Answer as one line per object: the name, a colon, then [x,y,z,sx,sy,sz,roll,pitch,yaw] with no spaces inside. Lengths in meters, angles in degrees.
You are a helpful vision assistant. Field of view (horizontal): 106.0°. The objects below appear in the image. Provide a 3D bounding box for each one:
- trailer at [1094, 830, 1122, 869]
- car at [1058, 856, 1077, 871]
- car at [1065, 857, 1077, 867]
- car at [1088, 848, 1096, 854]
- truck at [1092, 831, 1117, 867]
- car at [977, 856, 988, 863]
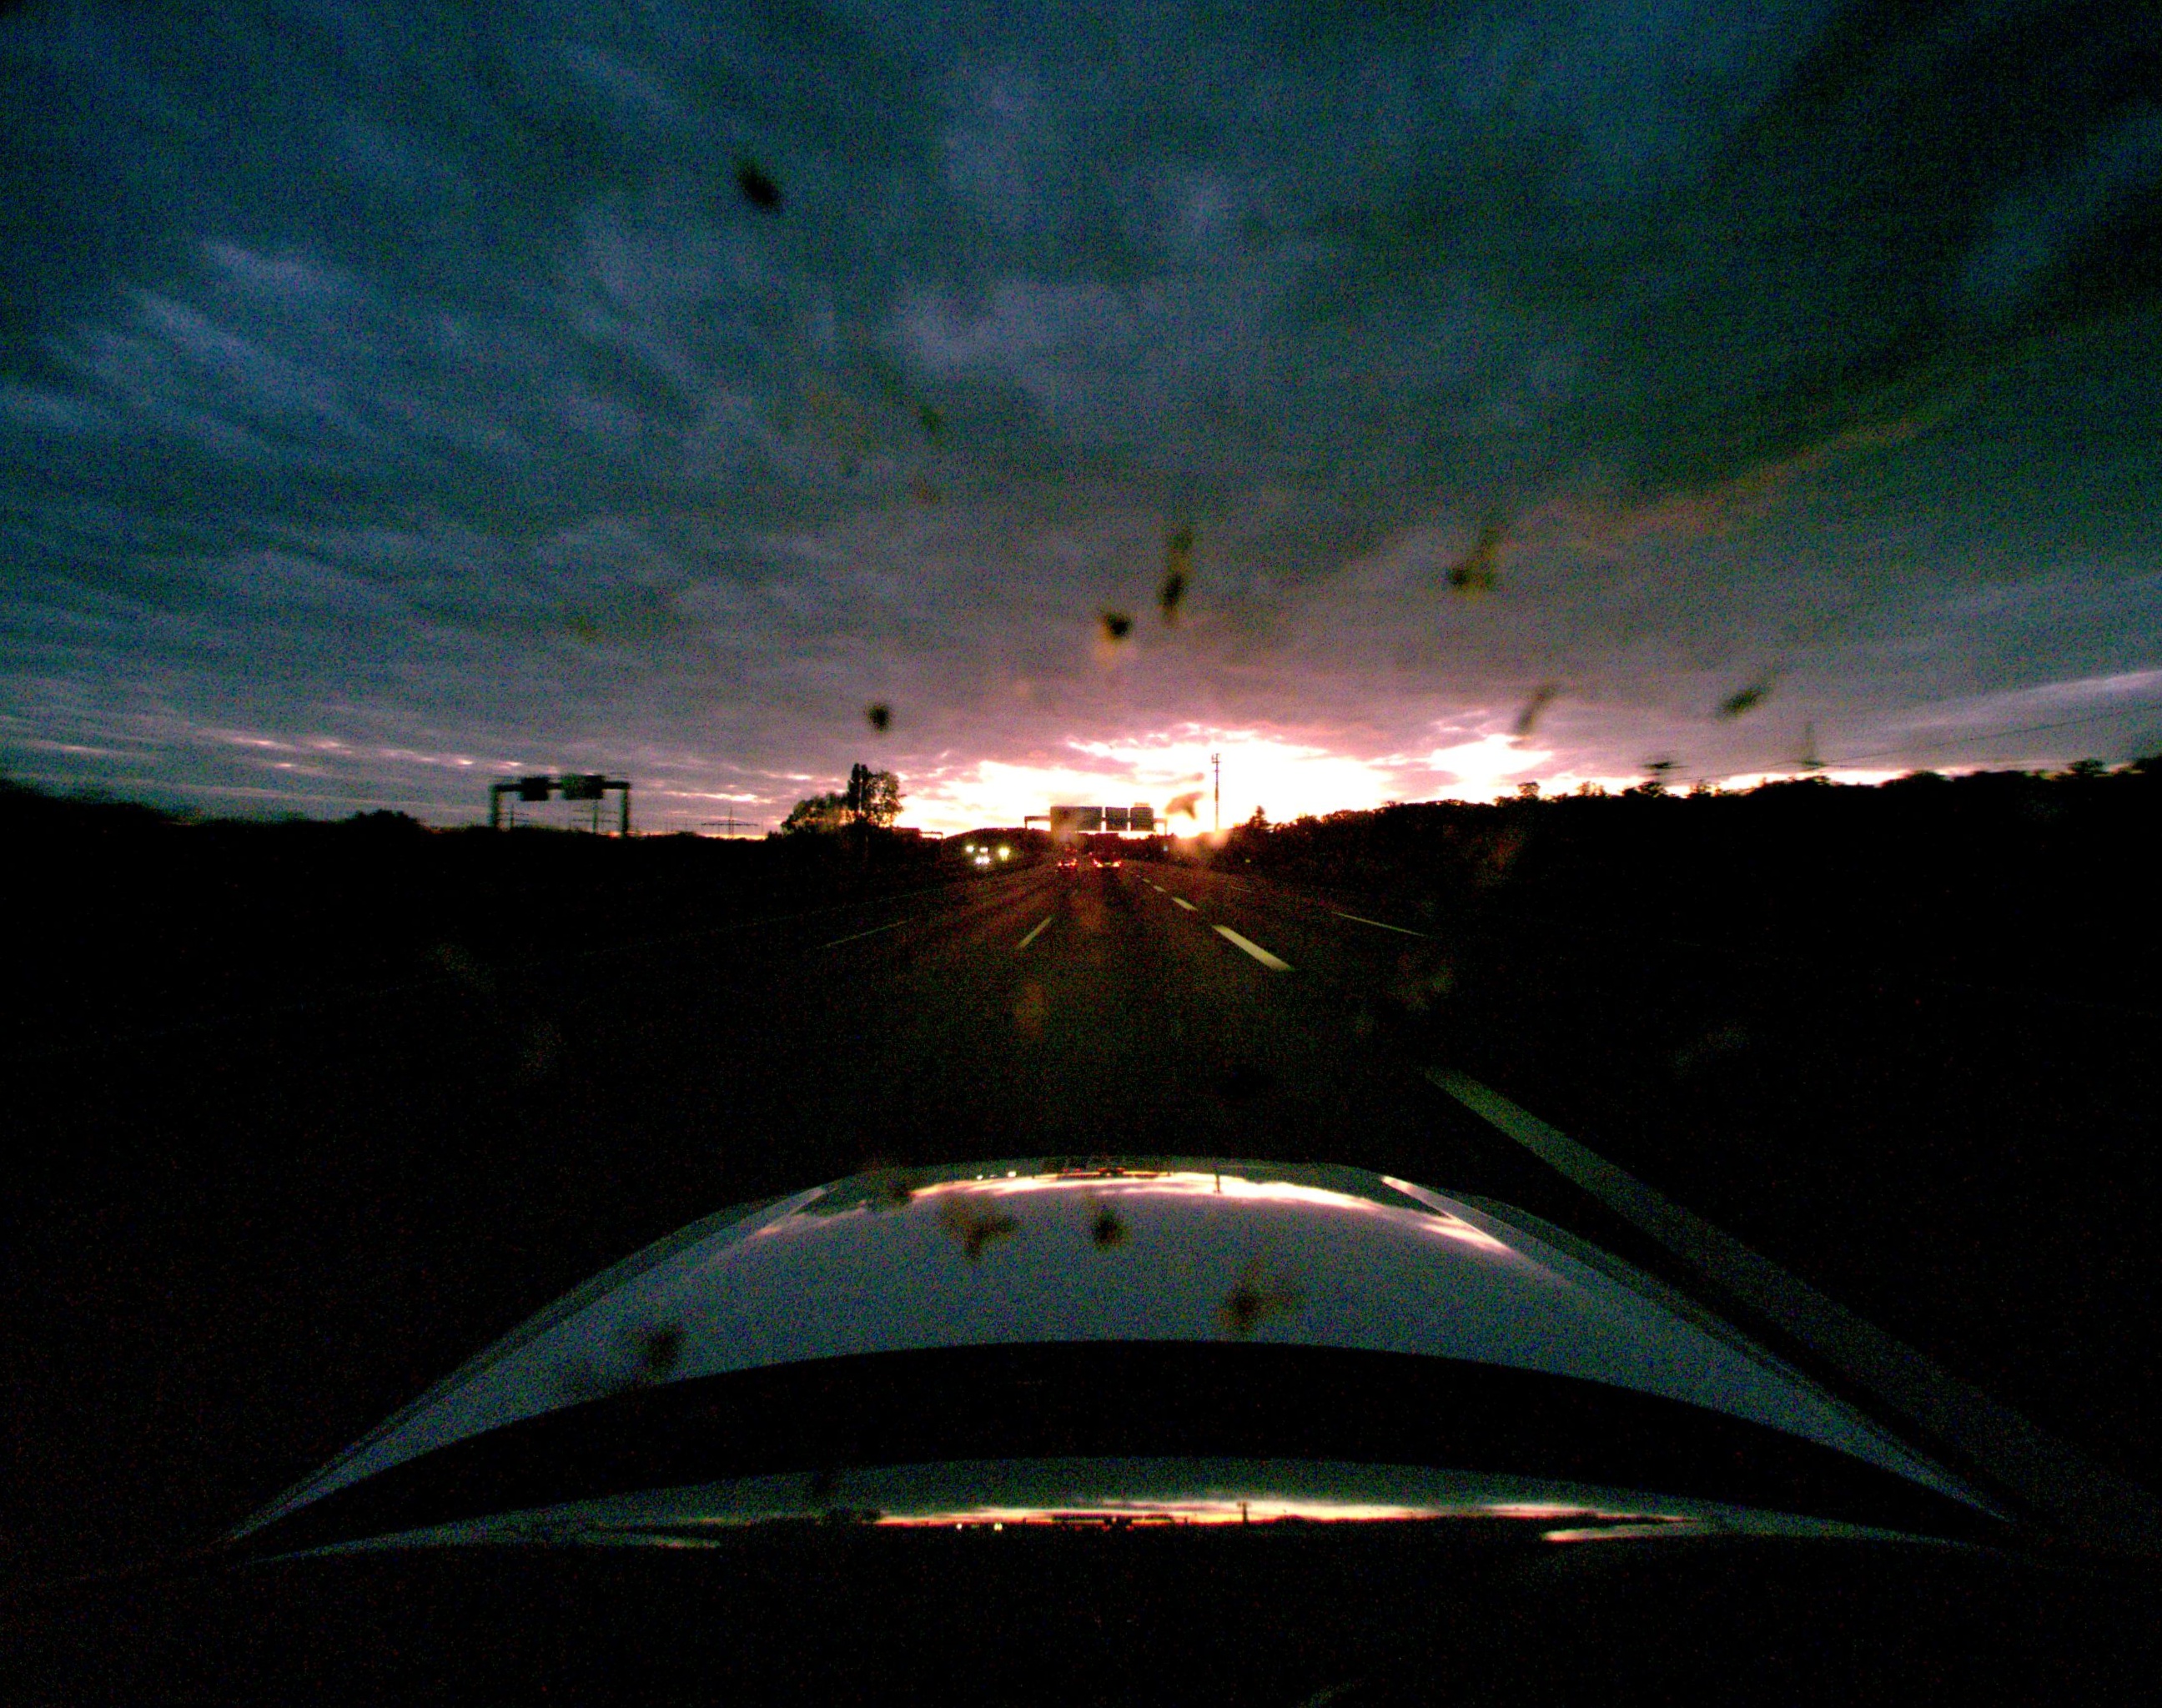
trailer: [2.872,-0.530,89.790,2.713,4.071,8.830,-1,1,0]
car: [-1.400,0.981,82.915,1.686,1.401,3.404,-1,-1,-4]
car: [-1.522,1.207,126.327,1.683,1.401,3.410,-2,-1,2]
car: [3.256,-0.794,243.010,1.990,1.717,3.993,-1,-1,-4]
truck: [2.825,-0.676,99.433,2.682,4.071,10.519,-1,1,0]
car: [-22.623,1.224,187.069,1.988,1.404,4.327,0,0,-1]
